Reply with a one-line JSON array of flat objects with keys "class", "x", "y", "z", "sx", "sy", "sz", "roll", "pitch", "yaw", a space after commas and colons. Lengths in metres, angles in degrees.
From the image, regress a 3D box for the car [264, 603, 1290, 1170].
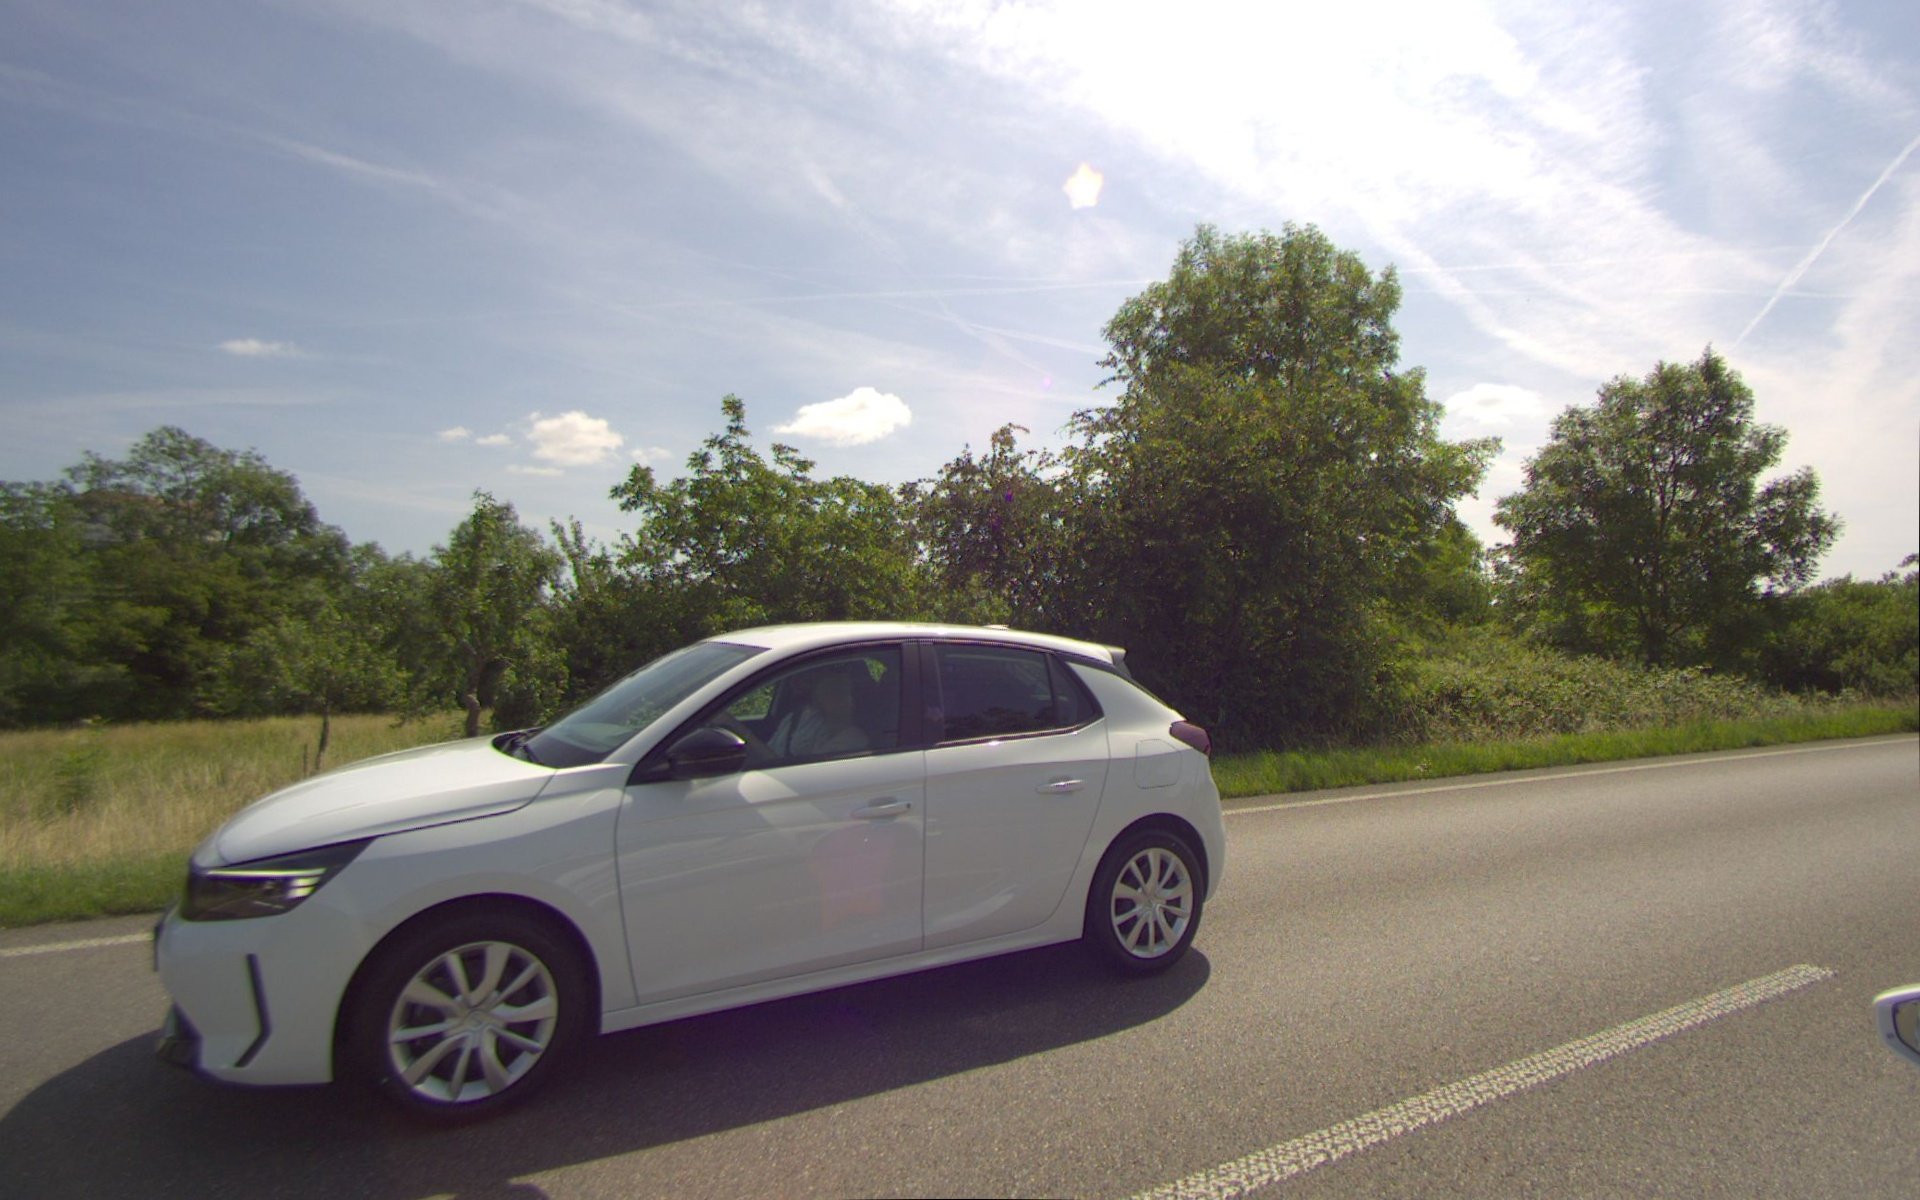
[{"class": "car", "x": -0.579, "y": 0.782, "z": 4.263, "sx": 3.728, "sy": 1.432, "sz": 1.743, "roll": 1, "pitch": -2, "yaw": -30}]
